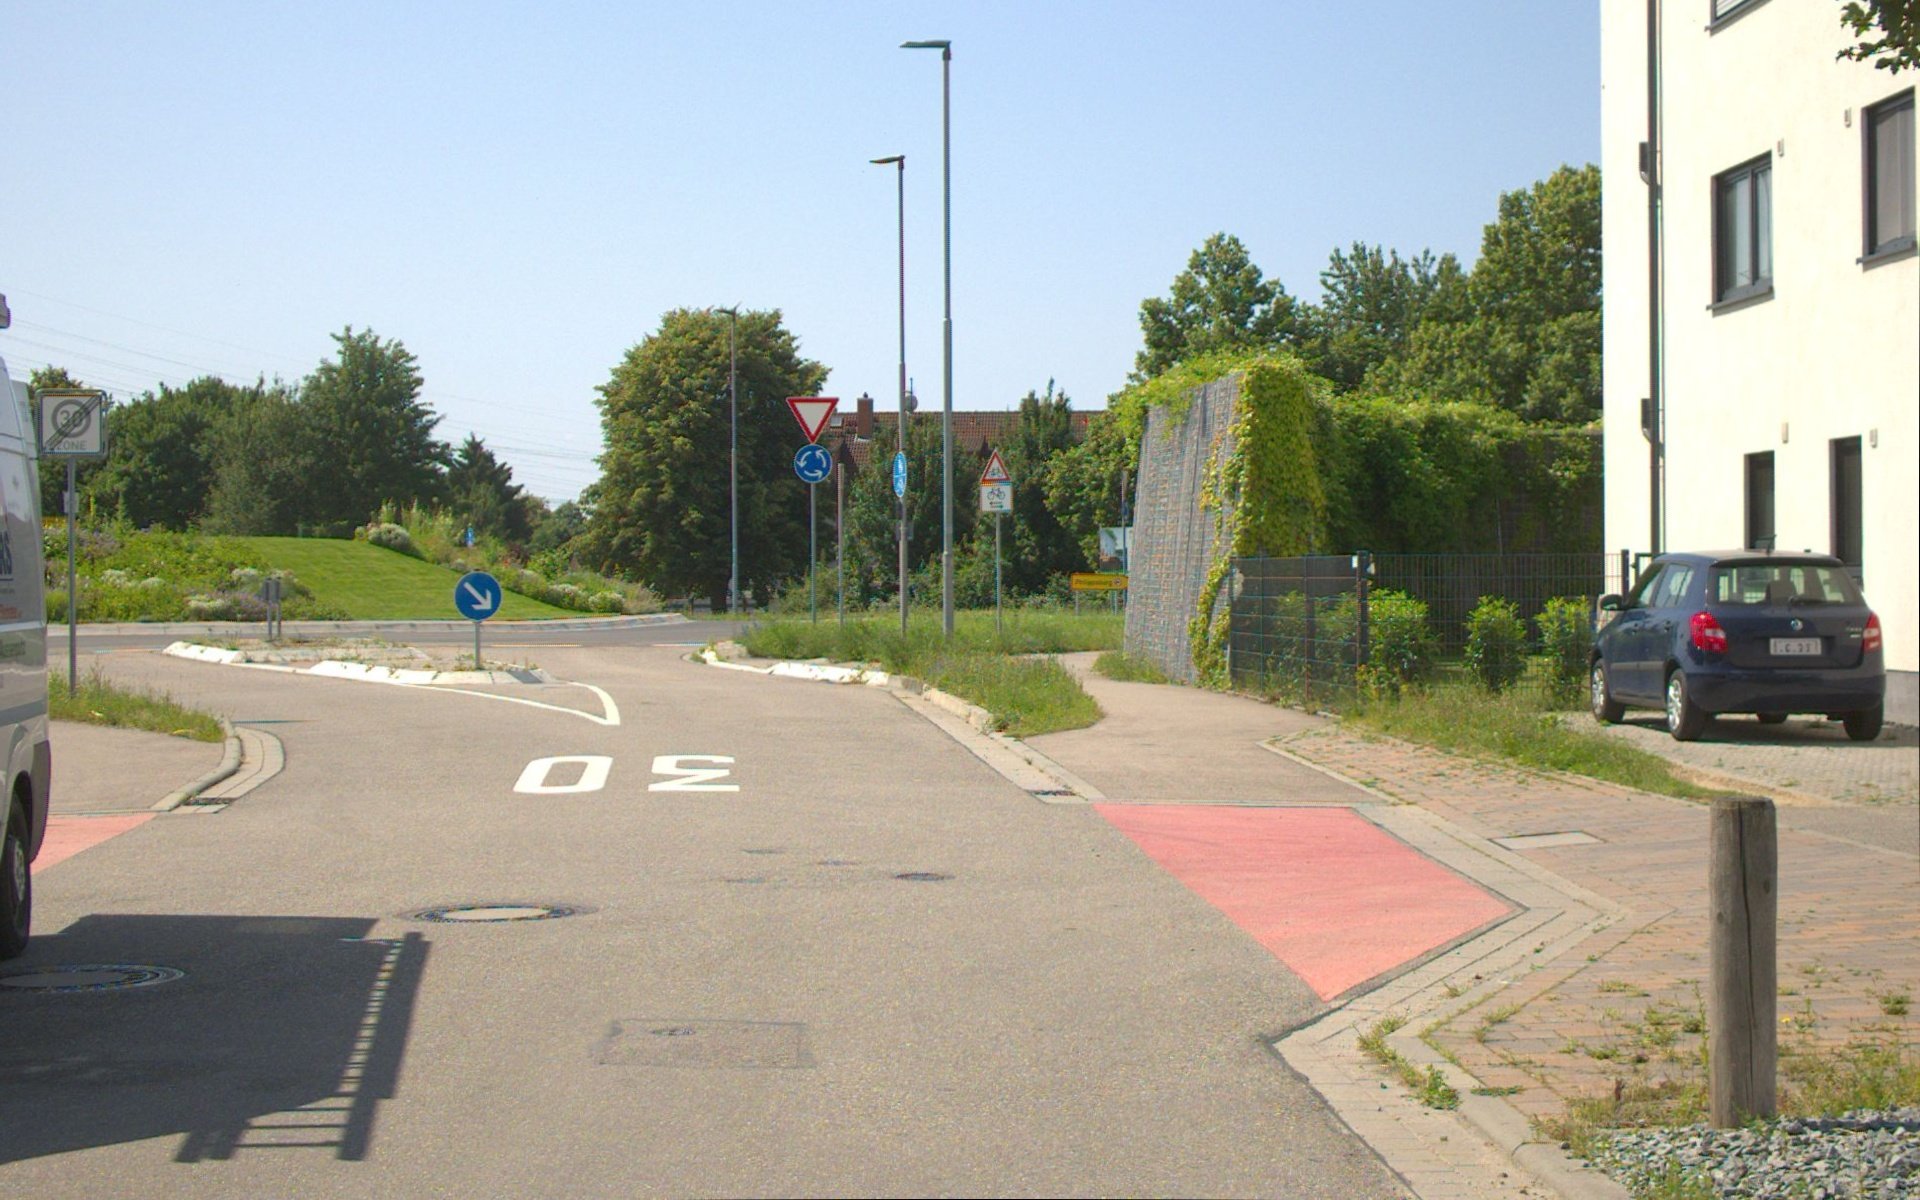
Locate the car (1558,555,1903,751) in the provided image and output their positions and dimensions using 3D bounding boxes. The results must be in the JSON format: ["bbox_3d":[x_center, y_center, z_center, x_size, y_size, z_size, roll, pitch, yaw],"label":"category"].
[{"bbox_3d":[6.270,0.382,28.423,1.677,1.464,4.117,1,1,-4],"label":"car"}]

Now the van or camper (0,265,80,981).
[{"bbox_3d":[-4.406,0.082,11.009,2.272,2.544,6.368,0,0,-7],"label":"van or camper"}]
